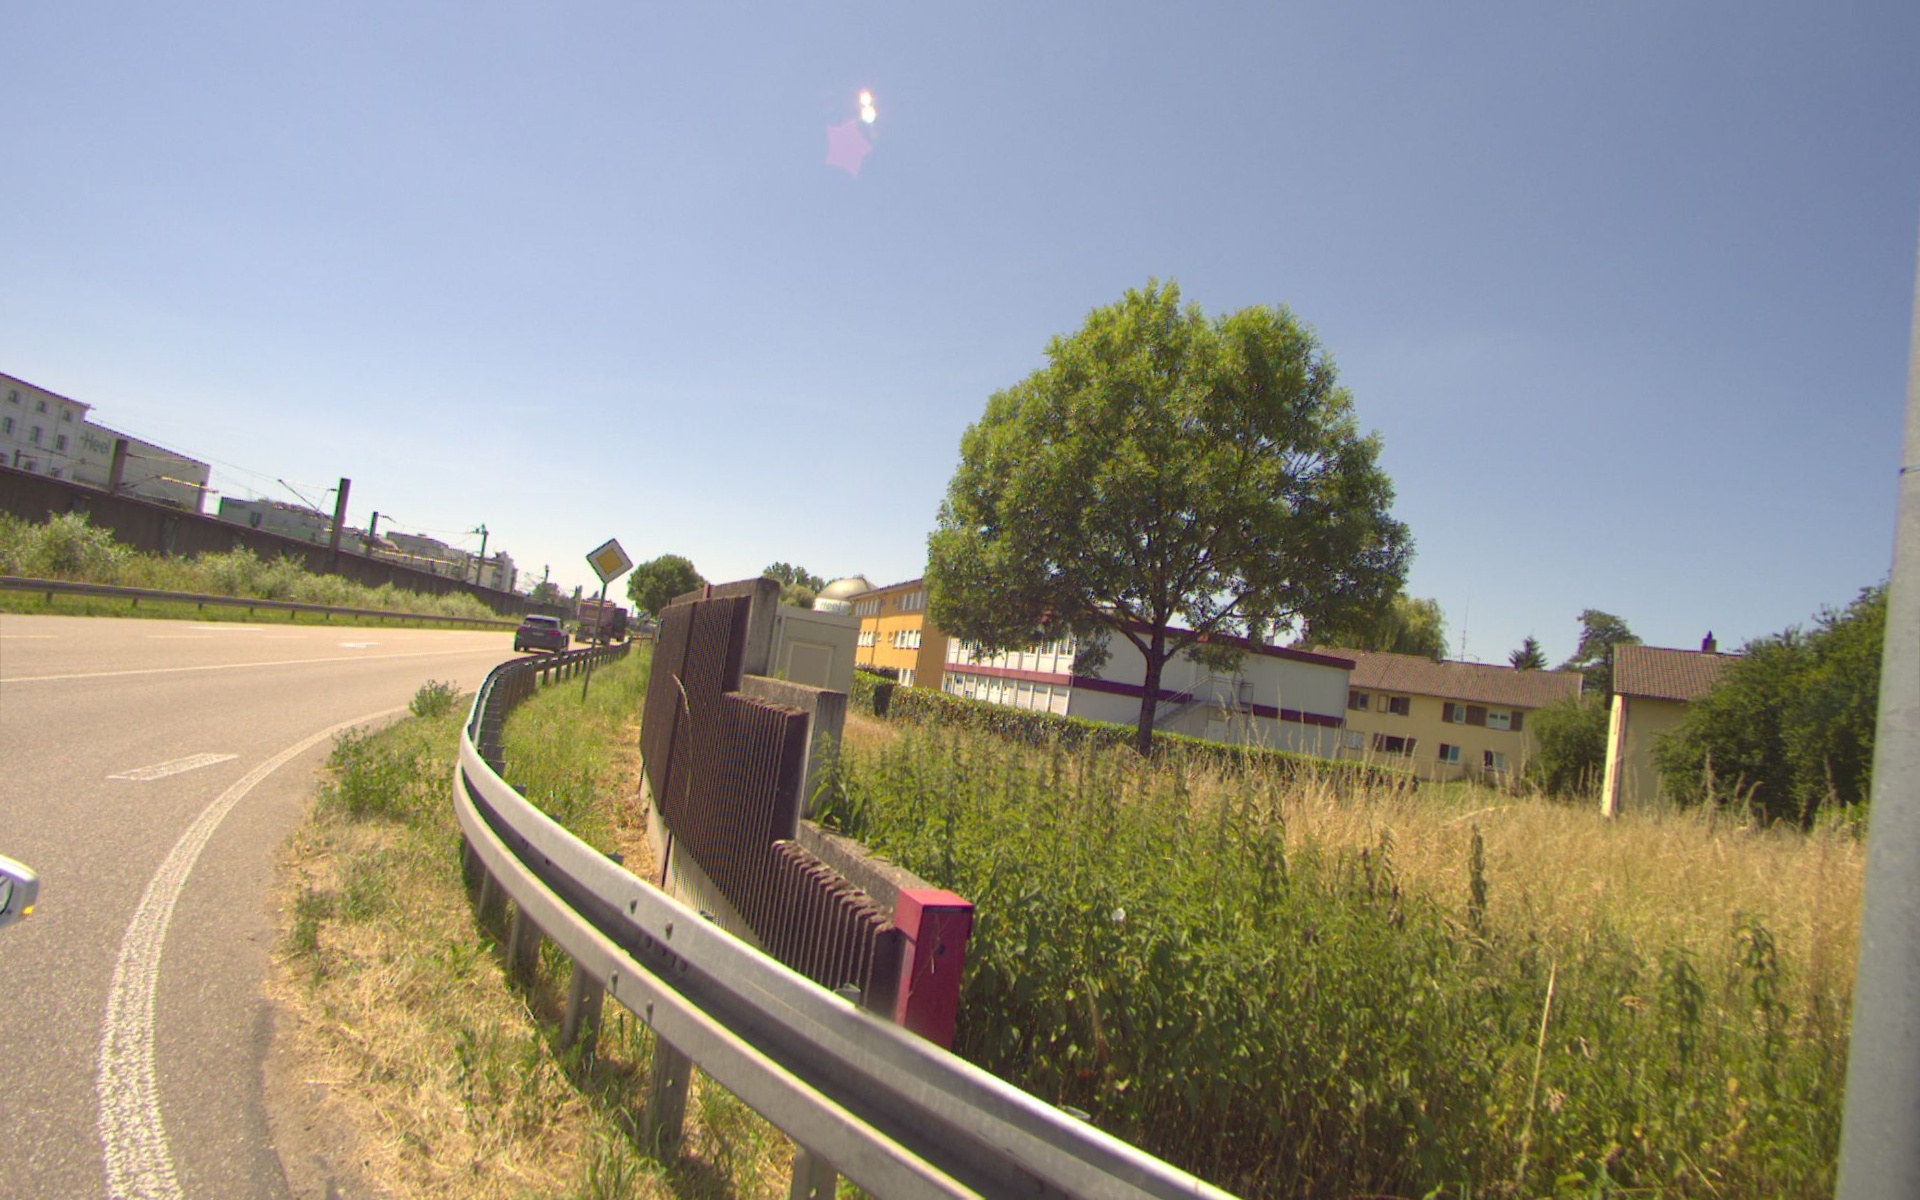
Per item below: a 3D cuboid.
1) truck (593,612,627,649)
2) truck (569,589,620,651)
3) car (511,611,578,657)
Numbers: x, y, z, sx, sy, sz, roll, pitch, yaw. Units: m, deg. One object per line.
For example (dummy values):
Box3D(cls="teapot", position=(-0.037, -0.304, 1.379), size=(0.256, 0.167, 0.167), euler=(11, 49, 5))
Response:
Box3D(cls="truck", position=(-40.849, 3.678, 117.717), size=(2.961, 3.757, 10.540), euler=(8, -5, -16))
Box3D(cls="truck", position=(-29.531, 1.802, 81.701), size=(2.962, 4.222, 11.784), euler=(8, -5, -17))
Box3D(cls="car", position=(-17.330, 1.471, 42.107), size=(1.971, 1.517, 3.995), euler=(9, -6, -16))
